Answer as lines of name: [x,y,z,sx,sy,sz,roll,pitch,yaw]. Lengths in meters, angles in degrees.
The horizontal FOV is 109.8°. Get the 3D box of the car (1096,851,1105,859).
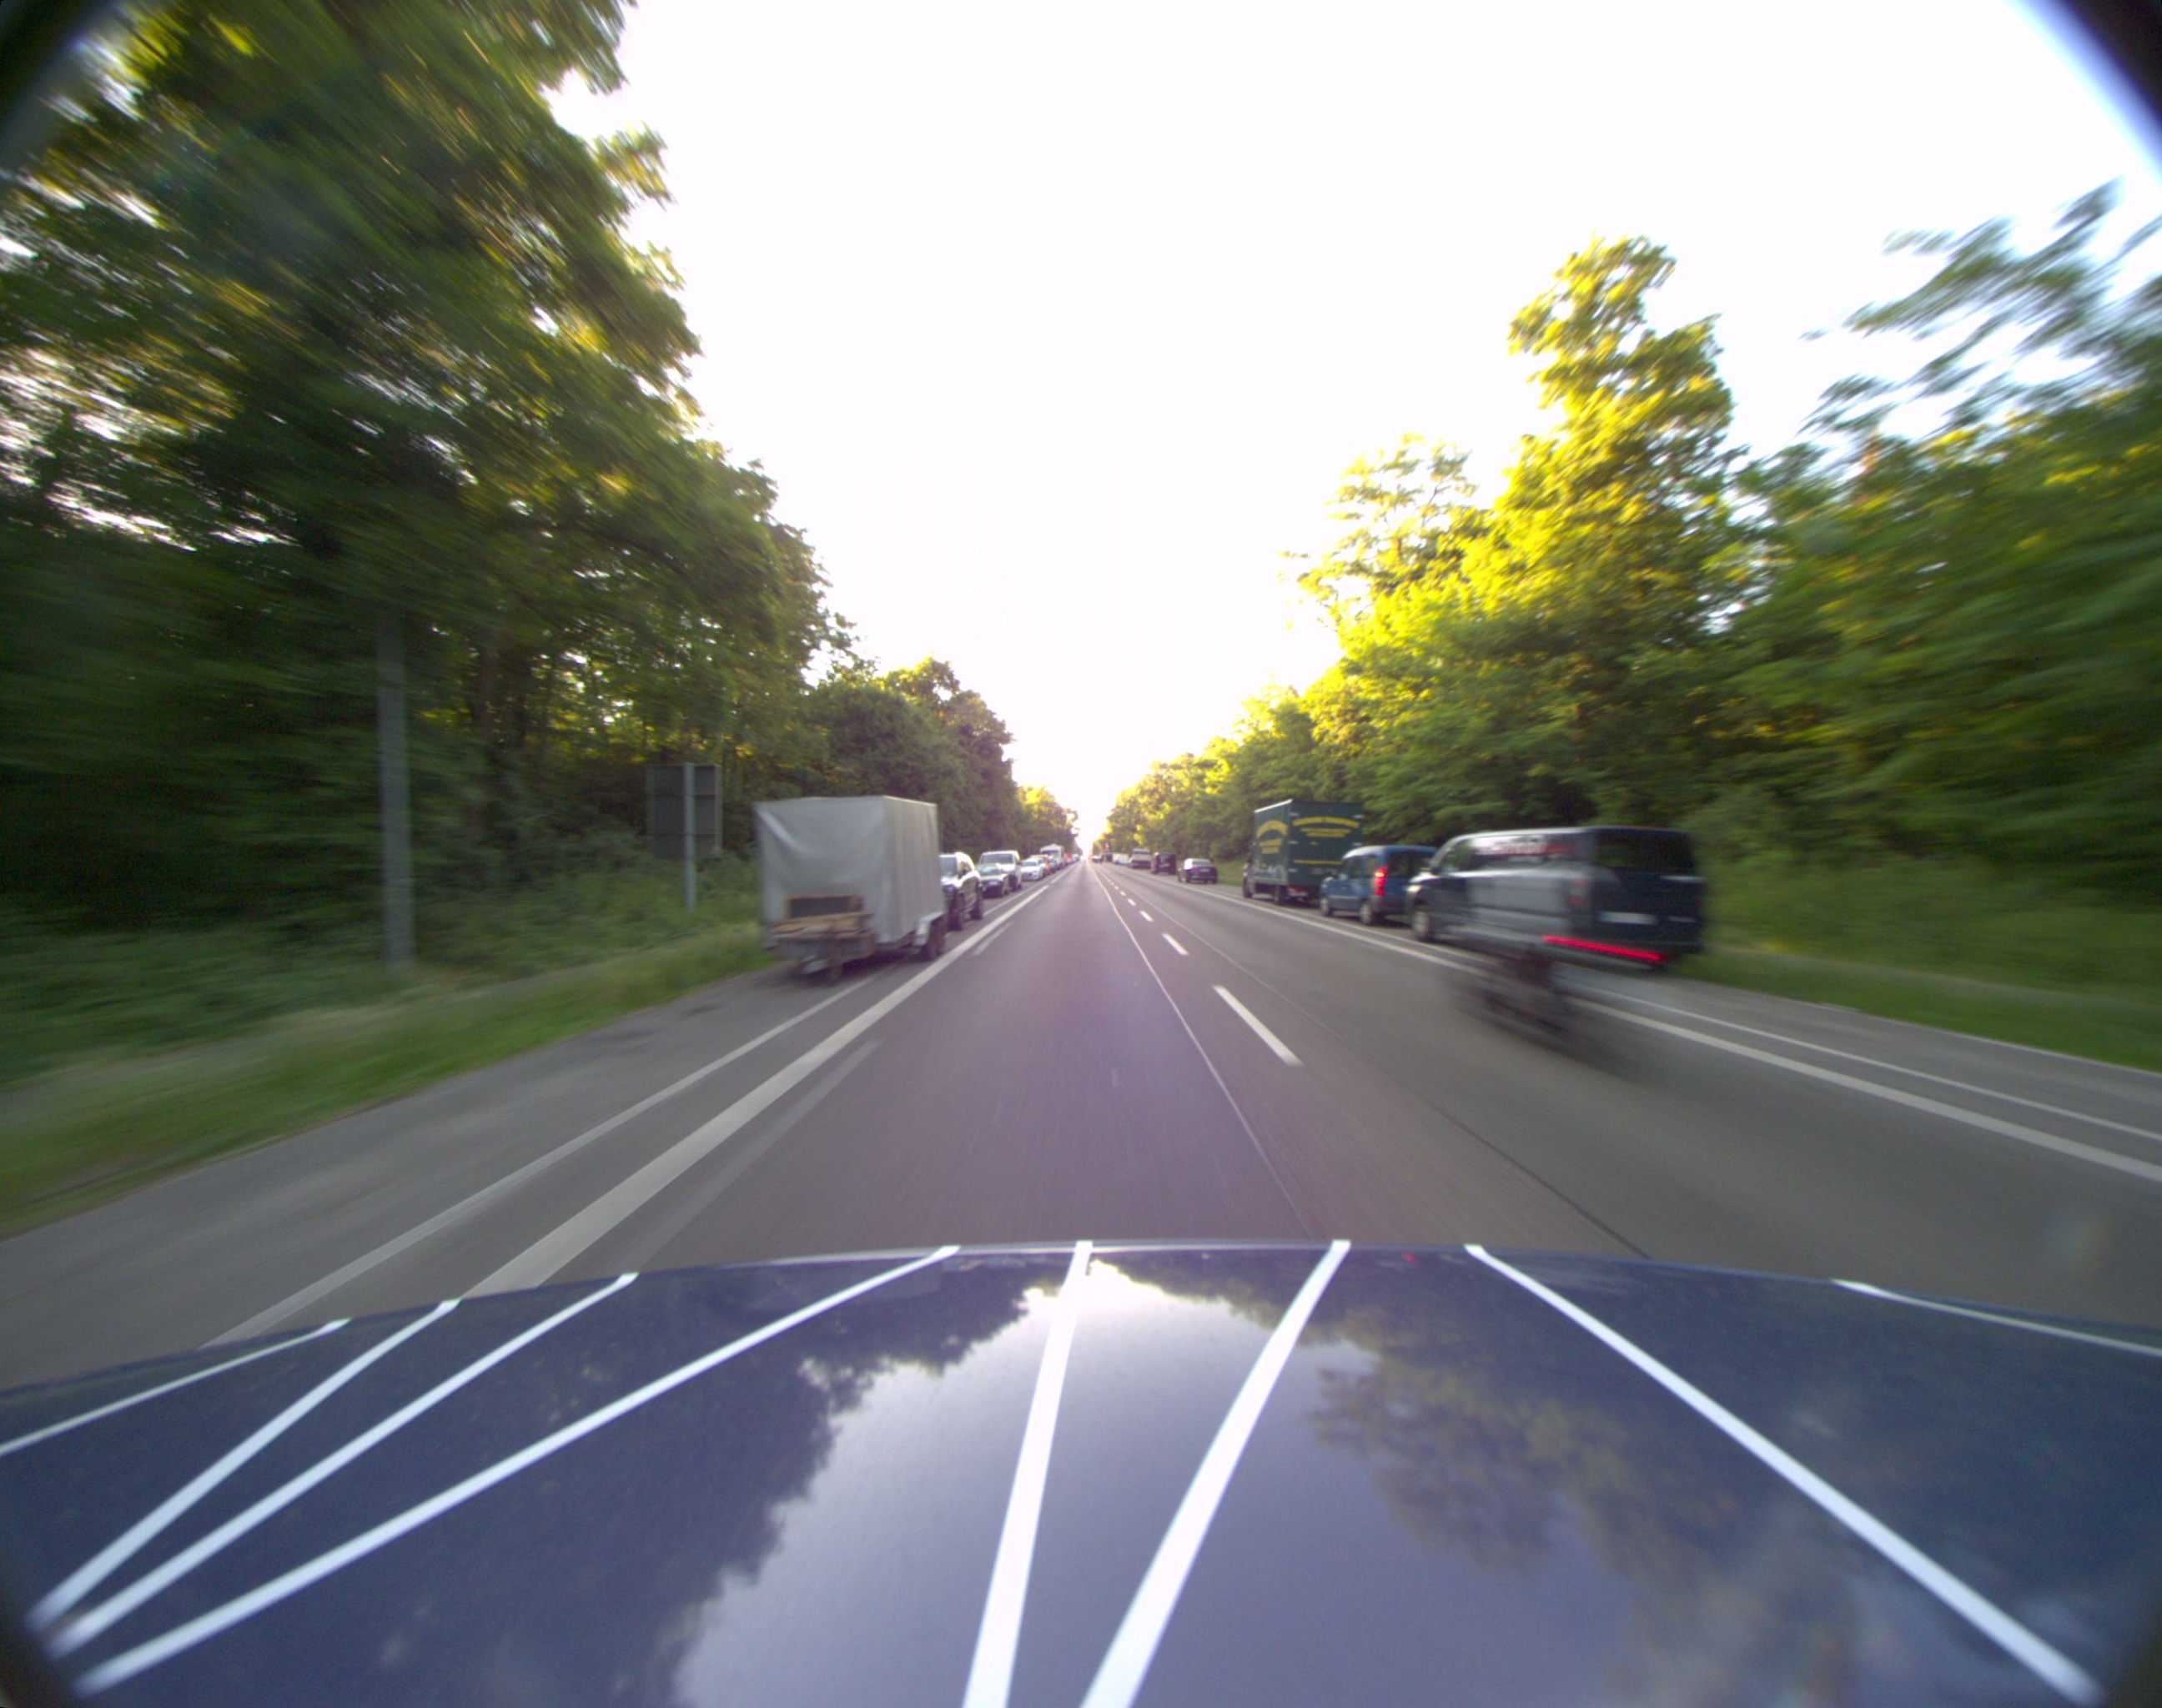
car: [4.702,0.211,184.130,1.998,1.849,3.999,-2,1,1]

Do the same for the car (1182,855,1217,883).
car: [7.004,0.845,45.081,1.606,1.495,3.760,2,0,3]

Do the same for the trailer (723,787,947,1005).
trailer: [-3.417,0.501,11.541,1.866,2.633,4.269,-2,1,0]

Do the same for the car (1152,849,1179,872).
car: [7.409,0.548,66.975,1.852,1.948,3.934,2,0,-1]

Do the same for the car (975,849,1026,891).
car: [-3.857,0.745,37.232,1.976,1.908,4.196,-1,0,1]

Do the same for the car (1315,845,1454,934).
car: [6.991,0.751,17.915,1.607,1.816,3.758,2,0,-2]

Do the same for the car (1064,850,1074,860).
car: [-2.510,0.170,155.045,1.844,2.007,4.196,-1,0,1]

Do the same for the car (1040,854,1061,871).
car: [-3.002,0.839,75.807,1.844,1.585,4.196,-1,0,1]

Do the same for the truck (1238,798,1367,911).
truck: [7.046,0.009,25.060,2.226,3.189,6.270,2,0,-1]

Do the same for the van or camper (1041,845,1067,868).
van or camper: [-3.356,0.284,96.117,3.015,2.704,6.960,-1,0,1]

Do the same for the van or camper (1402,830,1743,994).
van or camper: [7.045,0.717,11.701,2.034,1.945,4.691,2,0,-2]

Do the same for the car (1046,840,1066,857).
car: [-3.468,-0.750,105.455,2.537,2.270,5.554,-1,0,1]

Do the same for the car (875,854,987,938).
car: [-3.379,0.871,17.925,1.754,1.731,4.196,-1,0,1]

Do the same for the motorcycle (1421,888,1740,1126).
motorcycle: [3.529,0.972,5.760,0.842,1.301,2.433,-1,0,1]

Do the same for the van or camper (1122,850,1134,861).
van or camper: [8.365,0.266,134.934,1.844,1.965,4.196,-1,0,1]

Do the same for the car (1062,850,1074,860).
car: [-2.249,0.200,129.738,1.844,1.585,4.196,-1,0,1]

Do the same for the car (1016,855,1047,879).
car: [-3.502,0.891,54.409,1.844,1.585,4.196,-1,0,1]

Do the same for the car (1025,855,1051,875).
car: [-3.515,0.904,63.247,1.844,1.585,4.196,-1,0,1]

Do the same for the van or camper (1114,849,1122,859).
van or camper: [8.459,-0.088,173.756,1.844,2.264,4.196,-1,0,1]

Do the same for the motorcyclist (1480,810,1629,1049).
motorcyclist: [3.436,0.513,5.584,0.558,1.614,0.875,-1,1,1]

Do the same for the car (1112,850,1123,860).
car: [7.127,0.222,148.092,1.998,1.893,4.000,-2,1,1]

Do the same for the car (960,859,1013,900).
car: [-3.849,1.010,31.613,1.632,1.506,4.196,-1,0,1]

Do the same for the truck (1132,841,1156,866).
truck: [7.969,-0.061,96.634,2.654,3.039,5.800,-2,1,1]
